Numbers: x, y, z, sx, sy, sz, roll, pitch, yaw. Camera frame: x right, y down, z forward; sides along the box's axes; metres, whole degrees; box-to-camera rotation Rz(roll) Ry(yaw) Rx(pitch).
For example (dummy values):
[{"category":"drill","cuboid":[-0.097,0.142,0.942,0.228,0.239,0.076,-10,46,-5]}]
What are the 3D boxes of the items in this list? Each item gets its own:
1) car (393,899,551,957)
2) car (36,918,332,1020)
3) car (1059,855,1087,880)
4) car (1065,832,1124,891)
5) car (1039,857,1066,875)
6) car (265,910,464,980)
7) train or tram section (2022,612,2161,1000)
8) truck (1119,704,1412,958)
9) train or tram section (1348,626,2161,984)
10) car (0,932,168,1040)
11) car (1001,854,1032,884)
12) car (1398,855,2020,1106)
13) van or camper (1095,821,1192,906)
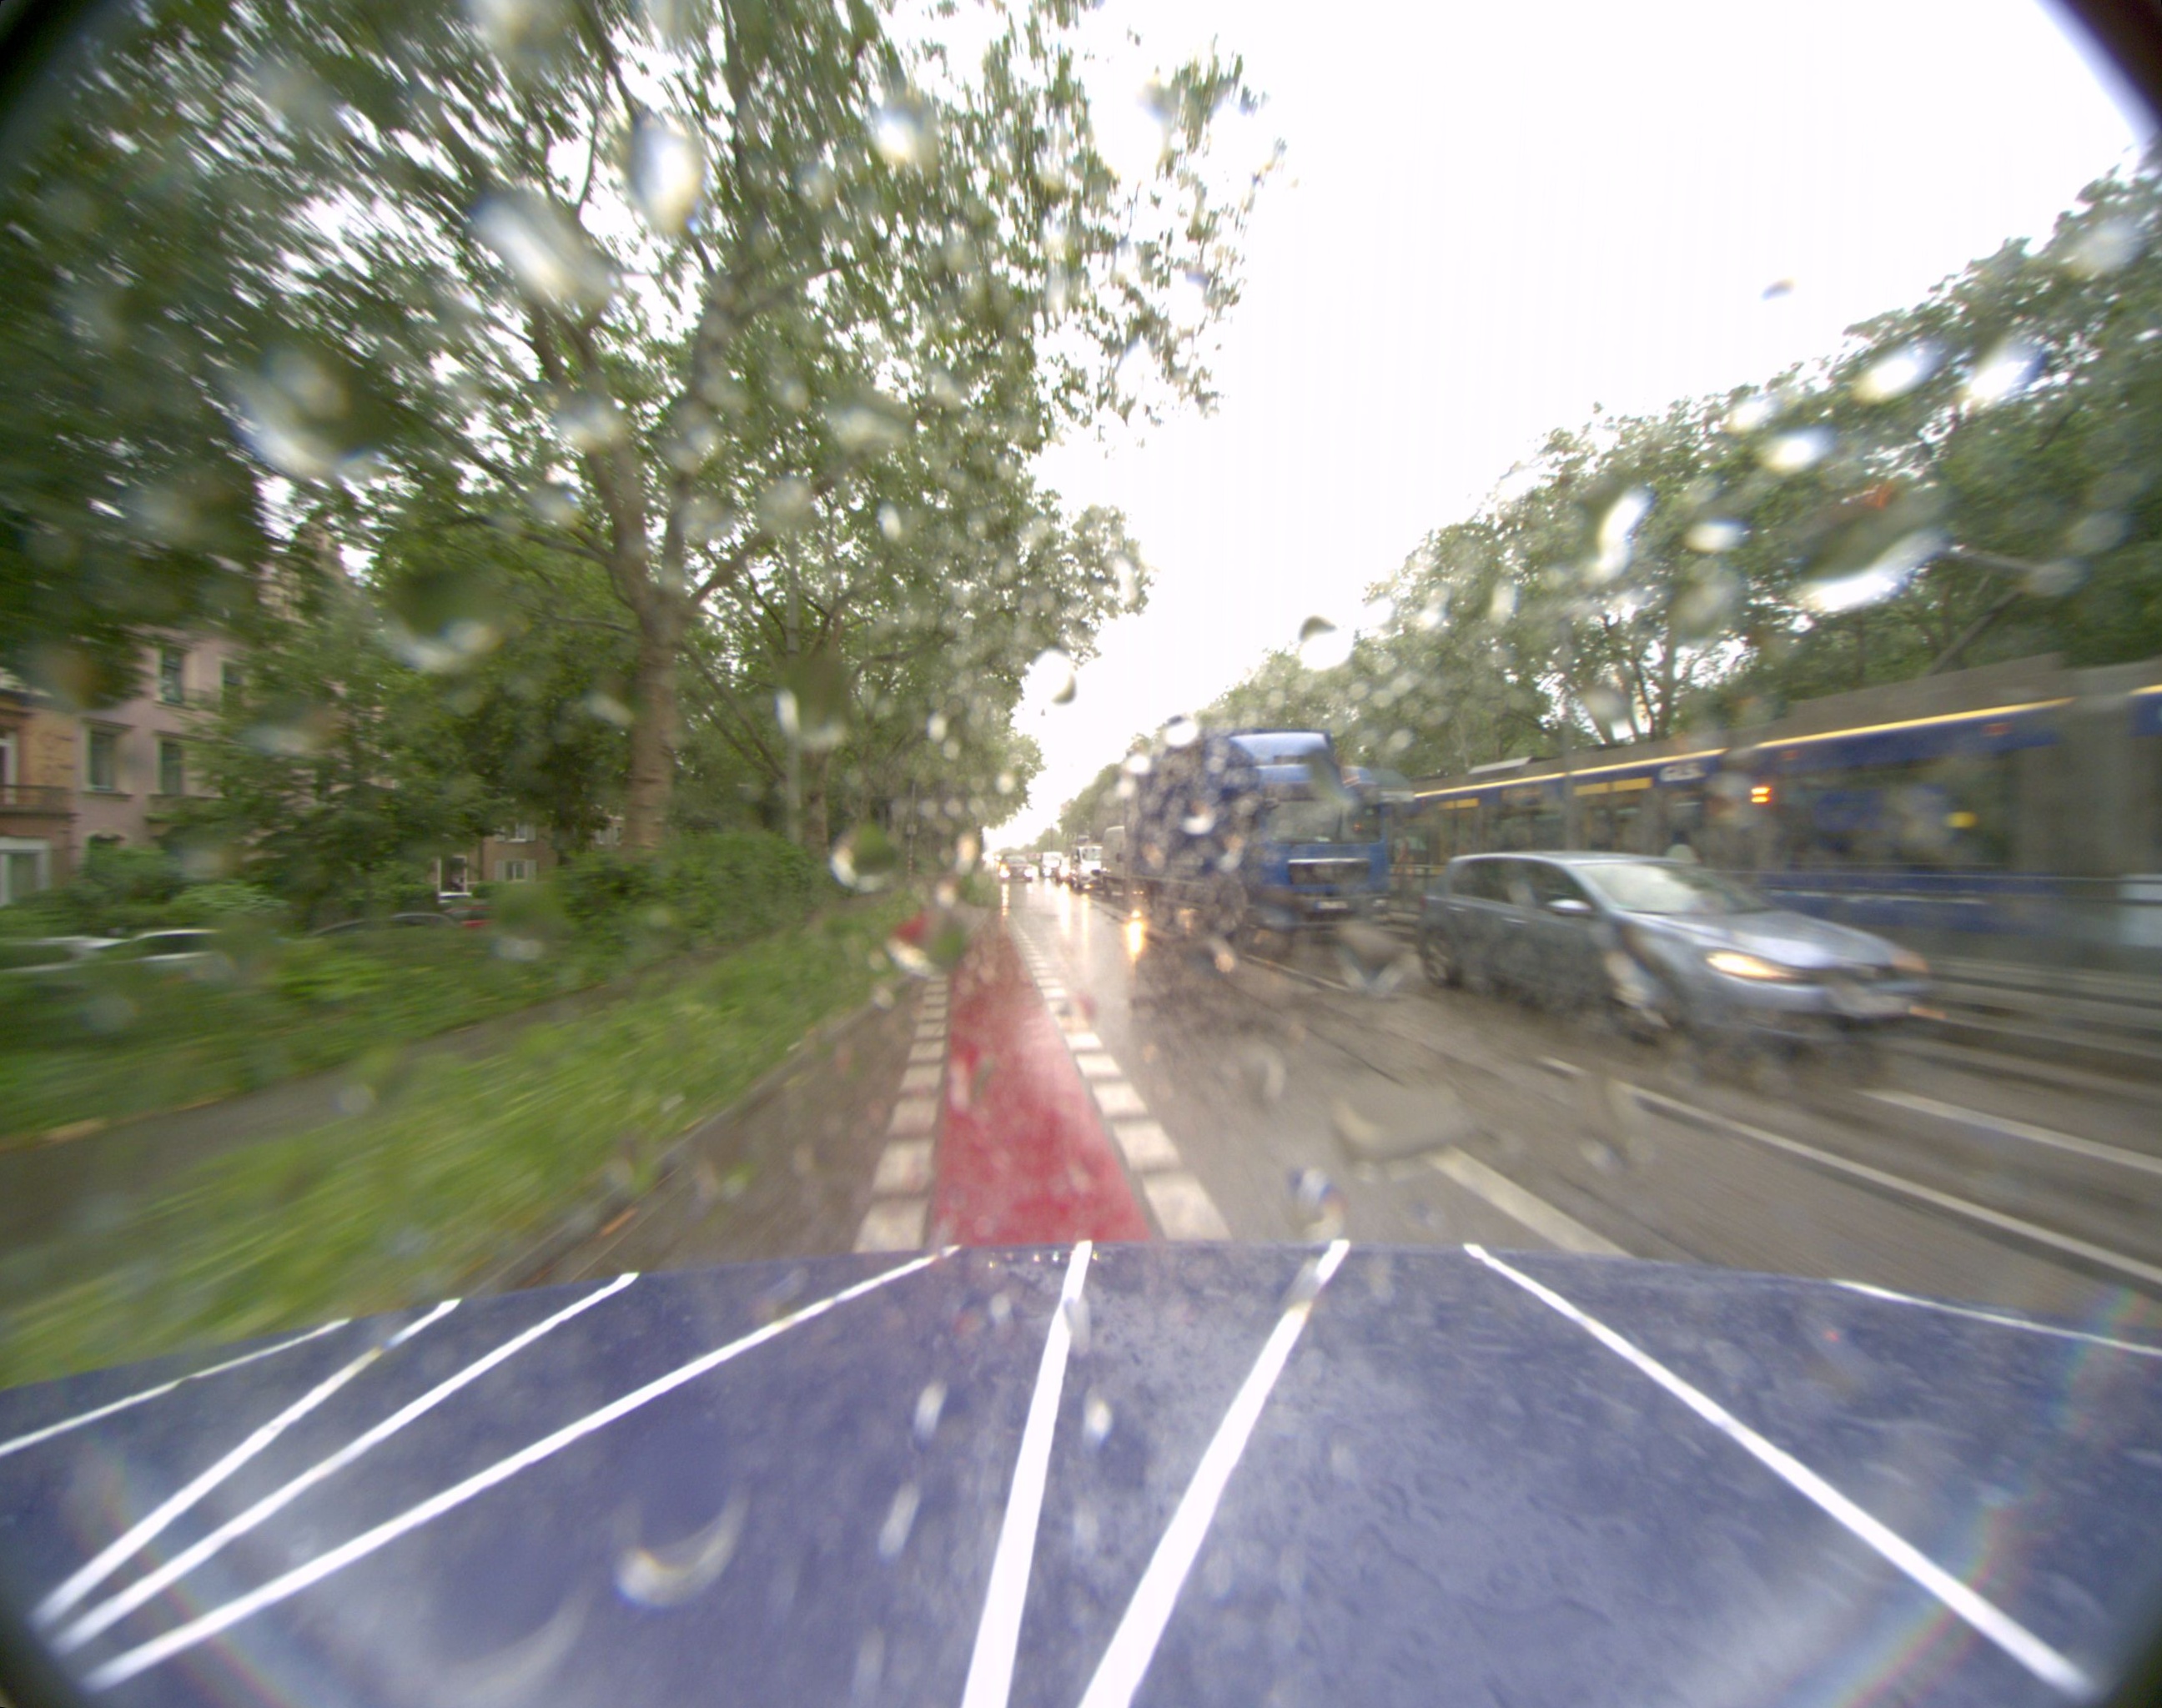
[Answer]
[{"category":"car","cuboid":[-20.581,2.436,25.766,4.007,1.455,1.833,-3,1,-42]},{"category":"car","cuboid":[-19.712,2.434,17.042,4.007,1.557,1.994,-3,1,-42]},{"category":"car","cuboid":[-0.414,0.727,43.038,1.467,1.265,3.615,-3,1,0]},{"category":"car","cuboid":[0.511,0.305,35.089,1.999,2.412,5.723,-3,1,-6]},{"category":"car","cuboid":[-2.009,0.812,53.429,1.468,1.185,3.612,-2,1,-8]},{"category":"car","cuboid":[-20.648,2.559,22.101,4.007,1.455,1.907,-3,1,-42]},{"category":"train or tram section","cuboid":[12.257,-0.474,0.123,3.552,3.393,15.491,-3,1,-9]},{"category":"truck","cuboid":[3.152,-0.393,16.619,2.547,3.867,9.803,-2,1,-9]},{"category":"train or tram section","cuboid":[10.143,-0.583,14.453,3.524,3.492,13.648,-3,1,-8]},{"category":"car","cuboid":[-19.598,2.433,13.477,4.007,1.600,1.820,-3,1,-39]},{"category":"car","cuboid":[-3.983,0.860,46.488,1.757,1.657,3.675,-2,1,-6]},{"category":"car","cuboid":[4.896,0.783,6.837,1.896,1.478,4.074,-1,0,-9]},{"category":"van or camper","cuboid":[2.027,0.285,27.122,2.000,2.556,6.426,-3,1,-8]}]
